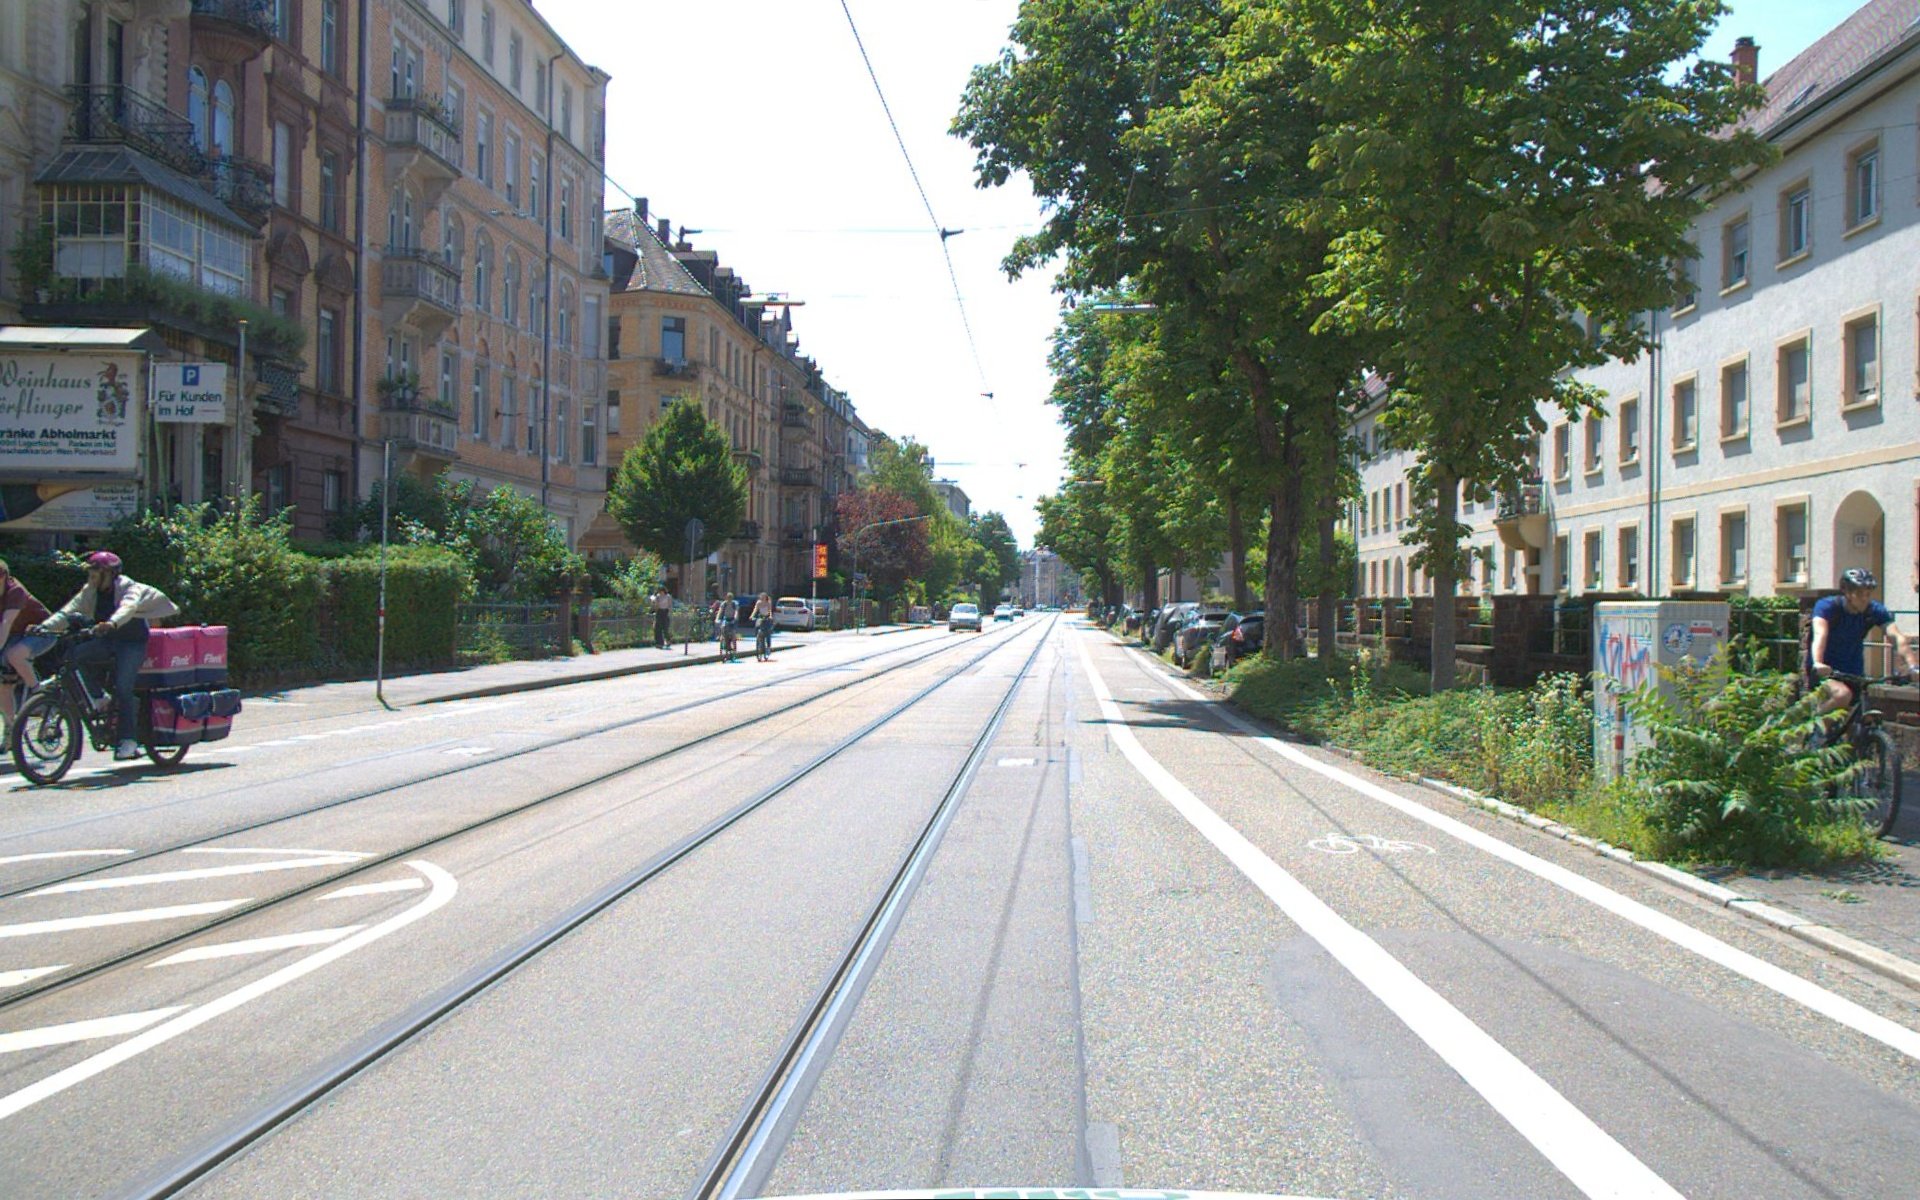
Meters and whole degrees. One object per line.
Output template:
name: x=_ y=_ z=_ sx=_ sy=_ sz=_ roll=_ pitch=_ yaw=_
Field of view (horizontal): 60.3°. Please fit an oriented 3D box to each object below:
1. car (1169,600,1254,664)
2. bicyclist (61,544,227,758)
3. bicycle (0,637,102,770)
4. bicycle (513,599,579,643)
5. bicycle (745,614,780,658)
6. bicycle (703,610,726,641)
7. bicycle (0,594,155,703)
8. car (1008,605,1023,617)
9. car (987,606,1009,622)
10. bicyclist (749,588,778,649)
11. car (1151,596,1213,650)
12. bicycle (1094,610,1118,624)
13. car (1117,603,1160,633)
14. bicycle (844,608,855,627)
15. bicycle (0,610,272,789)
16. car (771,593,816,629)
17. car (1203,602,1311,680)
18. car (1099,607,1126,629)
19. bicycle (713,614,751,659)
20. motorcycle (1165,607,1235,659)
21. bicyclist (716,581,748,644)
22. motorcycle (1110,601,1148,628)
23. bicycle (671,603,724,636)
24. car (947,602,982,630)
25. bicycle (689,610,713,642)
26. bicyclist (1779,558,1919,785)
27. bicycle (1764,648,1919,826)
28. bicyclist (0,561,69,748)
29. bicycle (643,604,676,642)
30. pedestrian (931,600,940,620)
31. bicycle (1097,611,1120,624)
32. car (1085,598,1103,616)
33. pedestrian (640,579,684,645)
car: x=6.635 y=0.813 z=43.960 sx=1.697 sy=1.579 sz=4.454 roll=1 pitch=0 yaw=2
bicyclist: x=-6.602 y=0.397 z=13.426 sx=0.790 sy=1.658 sz=0.981 roll=1 pitch=0 yaw=4
bicycle: x=-8.116 y=0.867 z=14.075 sx=0.556 sy=1.056 sz=1.830 roll=1 pitch=0 yaw=4
bicycle: x=-10.182 y=0.508 z=40.650 sx=1.478 sy=1.062 sz=0.495 roll=1 pitch=0 yaw=5
bicycle: x=-5.065 y=0.913 z=42.527 sx=0.569 sy=1.097 sz=1.891 roll=0 pitch=0 yaw=3
bicycle: x=-8.075 y=0.829 z=54.516 sx=0.429 sy=1.000 sz=1.711 roll=1 pitch=0 yaw=2
bicycle: x=-11.193 y=0.598 z=20.767 sx=1.832 sy=1.249 sz=0.568 roll=3 pitch=0 yaw=1
car: x=6.868 y=1.333 z=204.915 sx=1.651 sy=1.480 sz=3.750 roll=1 pitch=0 yaw=3
car: x=3.450 y=1.250 z=149.435 sx=1.719 sy=1.449 sz=4.002 roll=0 pitch=0 yaw=4
bicyclist: x=-5.062 y=0.473 z=42.577 sx=0.580 sy=1.571 sz=0.952 roll=0 pitch=0 yaw=3
car: x=7.302 y=0.718 z=54.781 sx=1.906 sy=1.679 sz=4.883 roll=1 pitch=0 yaw=6
bicycle: x=11.967 y=1.399 z=135.495 sx=1.921 sy=1.082 sz=0.599 roll=1 pitch=-1 yaw=10
car: x=9.046 y=0.891 z=84.161 sx=1.732 sy=1.451 sz=4.863 roll=1 pitch=0 yaw=1
bicycle: x=-5.990 y=0.934 z=89.573 sx=0.444 sy=1.021 sz=1.806 roll=1 pitch=0 yaw=0
bicycle: x=-6.604 y=0.737 z=13.430 sx=0.790 sy=1.294 sz=2.552 roll=1 pitch=0 yaw=4
car: x=-8.101 y=0.535 z=80.623 sx=1.828 sy=1.628 sz=4.100 roll=2 pitch=0 yaw=-1
car: x=6.287 y=0.827 z=35.362 sx=1.622 sy=1.541 sz=4.000 roll=1 pitch=0 yaw=1
car: x=11.163 y=1.291 z=121.064 sx=1.737 sy=1.527 sz=4.307 roll=0 pitch=0 yaw=2
bicycle: x=-5.871 y=0.930 z=42.598 sx=0.616 sy=1.097 sz=1.876 roll=0 pitch=0 yaw=3
motorcycle: x=6.941 y=0.941 z=47.794 sx=1.876 sy=1.458 sz=0.671 roll=1 pitch=0 yaw=-6
bicyclist: x=-5.872 y=0.323 z=42.656 sx=0.620 sy=1.612 sz=1.029 roll=0 pitch=0 yaw=3
motorcycle: x=10.156 y=0.894 z=99.538 sx=0.862 sy=1.567 sz=2.284 roll=1 pitch=0 yaw=-43
bicycle: x=-8.865 y=0.658 z=55.924 sx=1.669 sy=1.055 sz=0.551 roll=1 pitch=0 yaw=8
car: x=0.262 y=0.848 z=89.065 sx=1.649 sy=1.475 sz=4.002 roll=1 pitch=0 yaw=3
bicycle: x=-8.210 y=0.813 z=52.478 sx=0.429 sy=1.000 sz=1.711 roll=1 pitch=0 yaw=2
bicyclist: x=6.194 y=0.470 z=11.360 sx=0.696 sy=1.477 sz=1.011 roll=1 pitch=0 yaw=5
bicycle: x=6.181 y=0.897 z=11.350 sx=0.589 sy=1.069 sz=1.824 roll=1 pitch=0 yaw=6
bicyclist: x=-8.112 y=0.443 z=14.040 sx=0.551 sy=1.542 sz=0.892 roll=1 pitch=0 yaw=4
bicycle: x=-8.597 y=0.644 z=47.346 sx=0.486 sy=1.004 sz=1.711 roll=5 pitch=0 yaw=2
pedestrian: x=-2.059 y=0.867 z=139.996 sx=0.735 sy=1.657 sz=0.833 roll=1 pitch=-1 yaw=-1
bicycle: x=12.115 y=1.426 z=135.009 sx=1.849 sy=1.070 sz=0.538 roll=1 pitch=-1 yaw=10
car: x=15.694 y=0.779 z=194.077 sx=1.951 sy=2.071 sz=4.699 roll=1 pitch=0 yaw=3
pedestrian: x=-8.245 y=0.326 z=45.770 sx=0.833 sy=1.753 sz=1.139 roll=4 pitch=0 yaw=4
